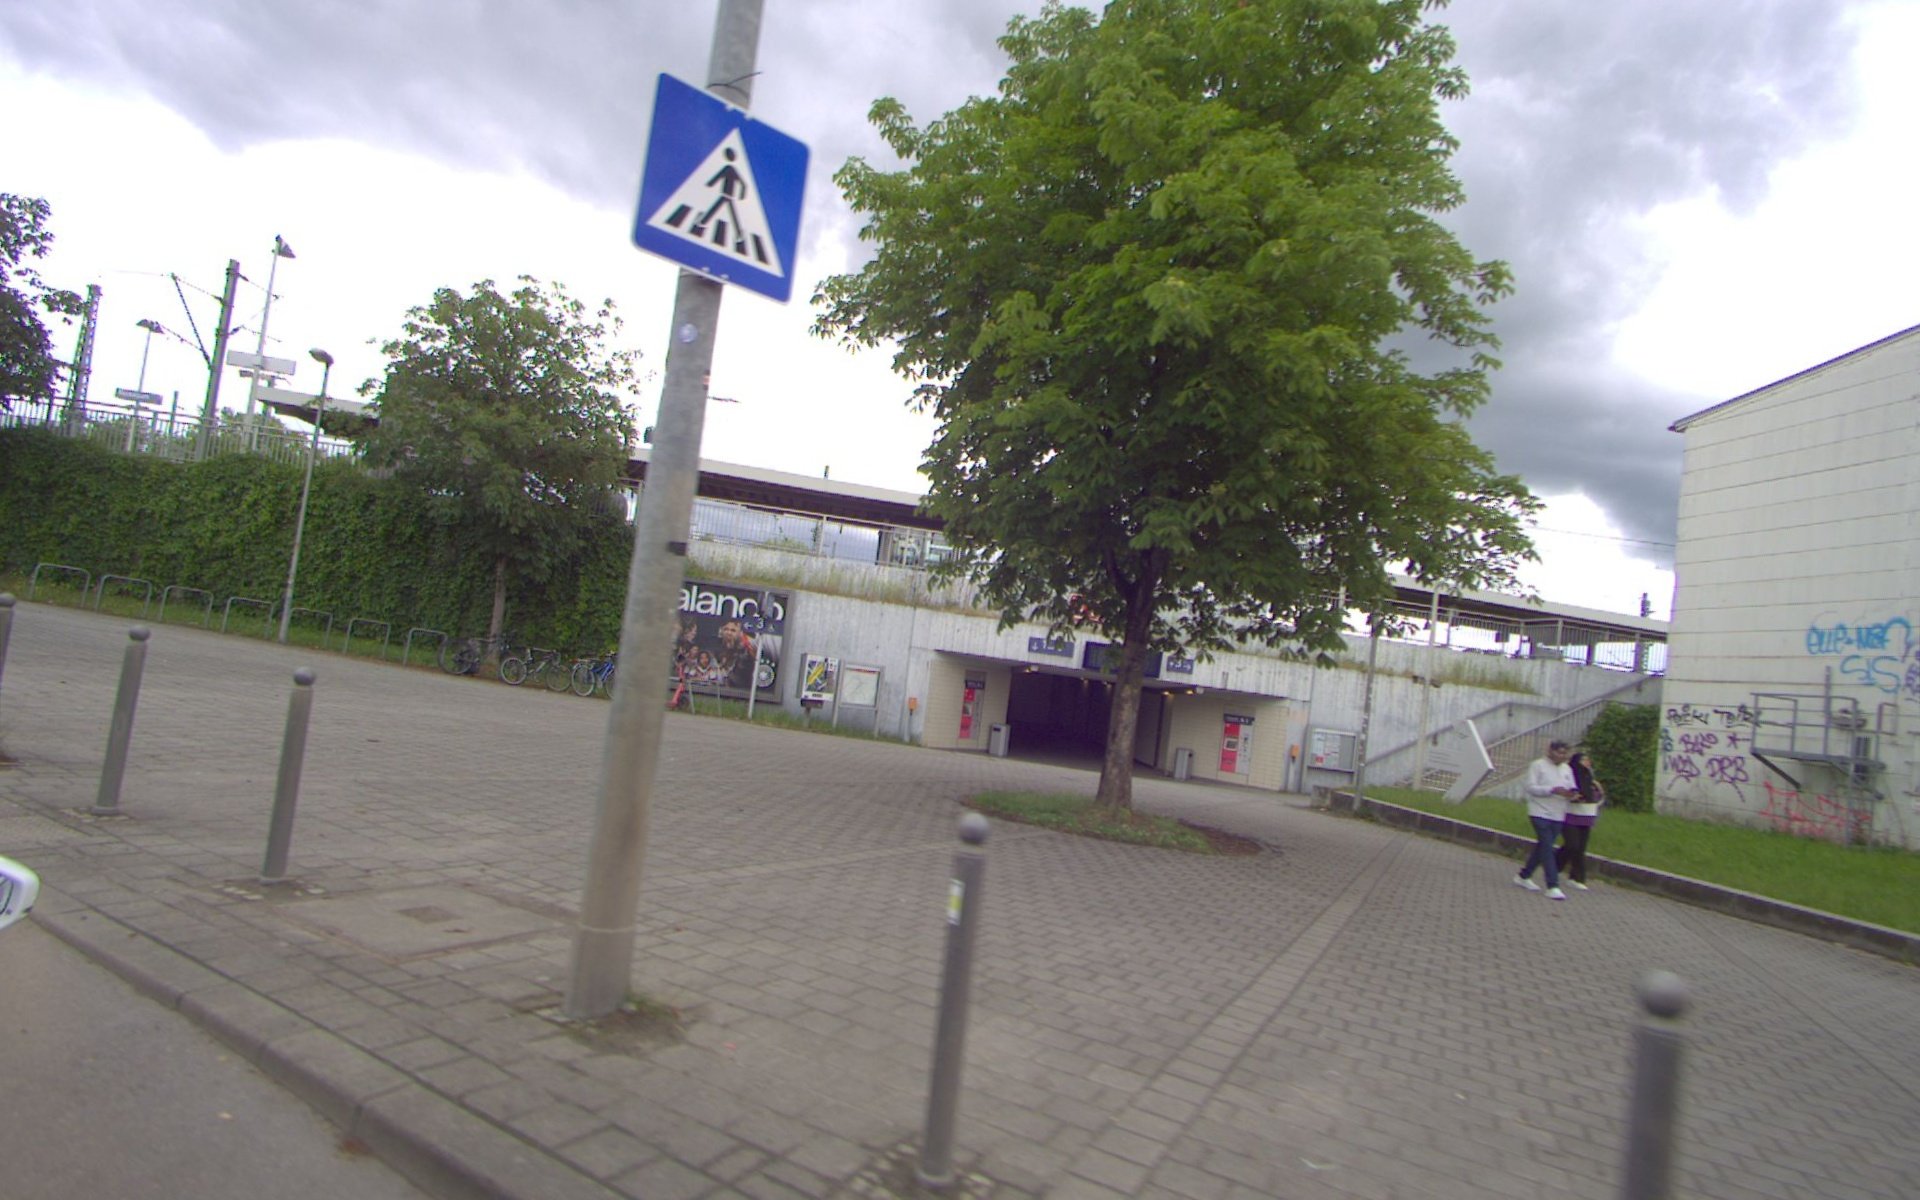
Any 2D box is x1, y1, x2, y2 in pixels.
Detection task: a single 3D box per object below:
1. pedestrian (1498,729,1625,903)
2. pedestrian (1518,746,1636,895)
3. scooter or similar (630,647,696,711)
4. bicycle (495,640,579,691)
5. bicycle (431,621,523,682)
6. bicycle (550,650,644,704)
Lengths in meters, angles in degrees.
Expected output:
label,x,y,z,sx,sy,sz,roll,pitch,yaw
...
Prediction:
label,x,y,z,sx,sy,sz,roll,pitch,yaw
pedestrian,6.584,2.352,11.032,0.806,1.721,0.746,8,-3,-22
pedestrian,7.412,2.635,12.100,0.791,1.600,0.798,8,-3,-22
scooter or similar,-6.391,1.715,21.671,0.460,1.218,1.192,6,-5,31
bicycle,-9.044,1.422,21.555,0.456,0.862,1.581,7,-6,31
bicycle,-10.126,1.087,21.124,1.486,0.999,0.686,14,-6,-44
bicycle,-7.767,1.666,21.629,0.502,0.873,1.976,7,-7,28
